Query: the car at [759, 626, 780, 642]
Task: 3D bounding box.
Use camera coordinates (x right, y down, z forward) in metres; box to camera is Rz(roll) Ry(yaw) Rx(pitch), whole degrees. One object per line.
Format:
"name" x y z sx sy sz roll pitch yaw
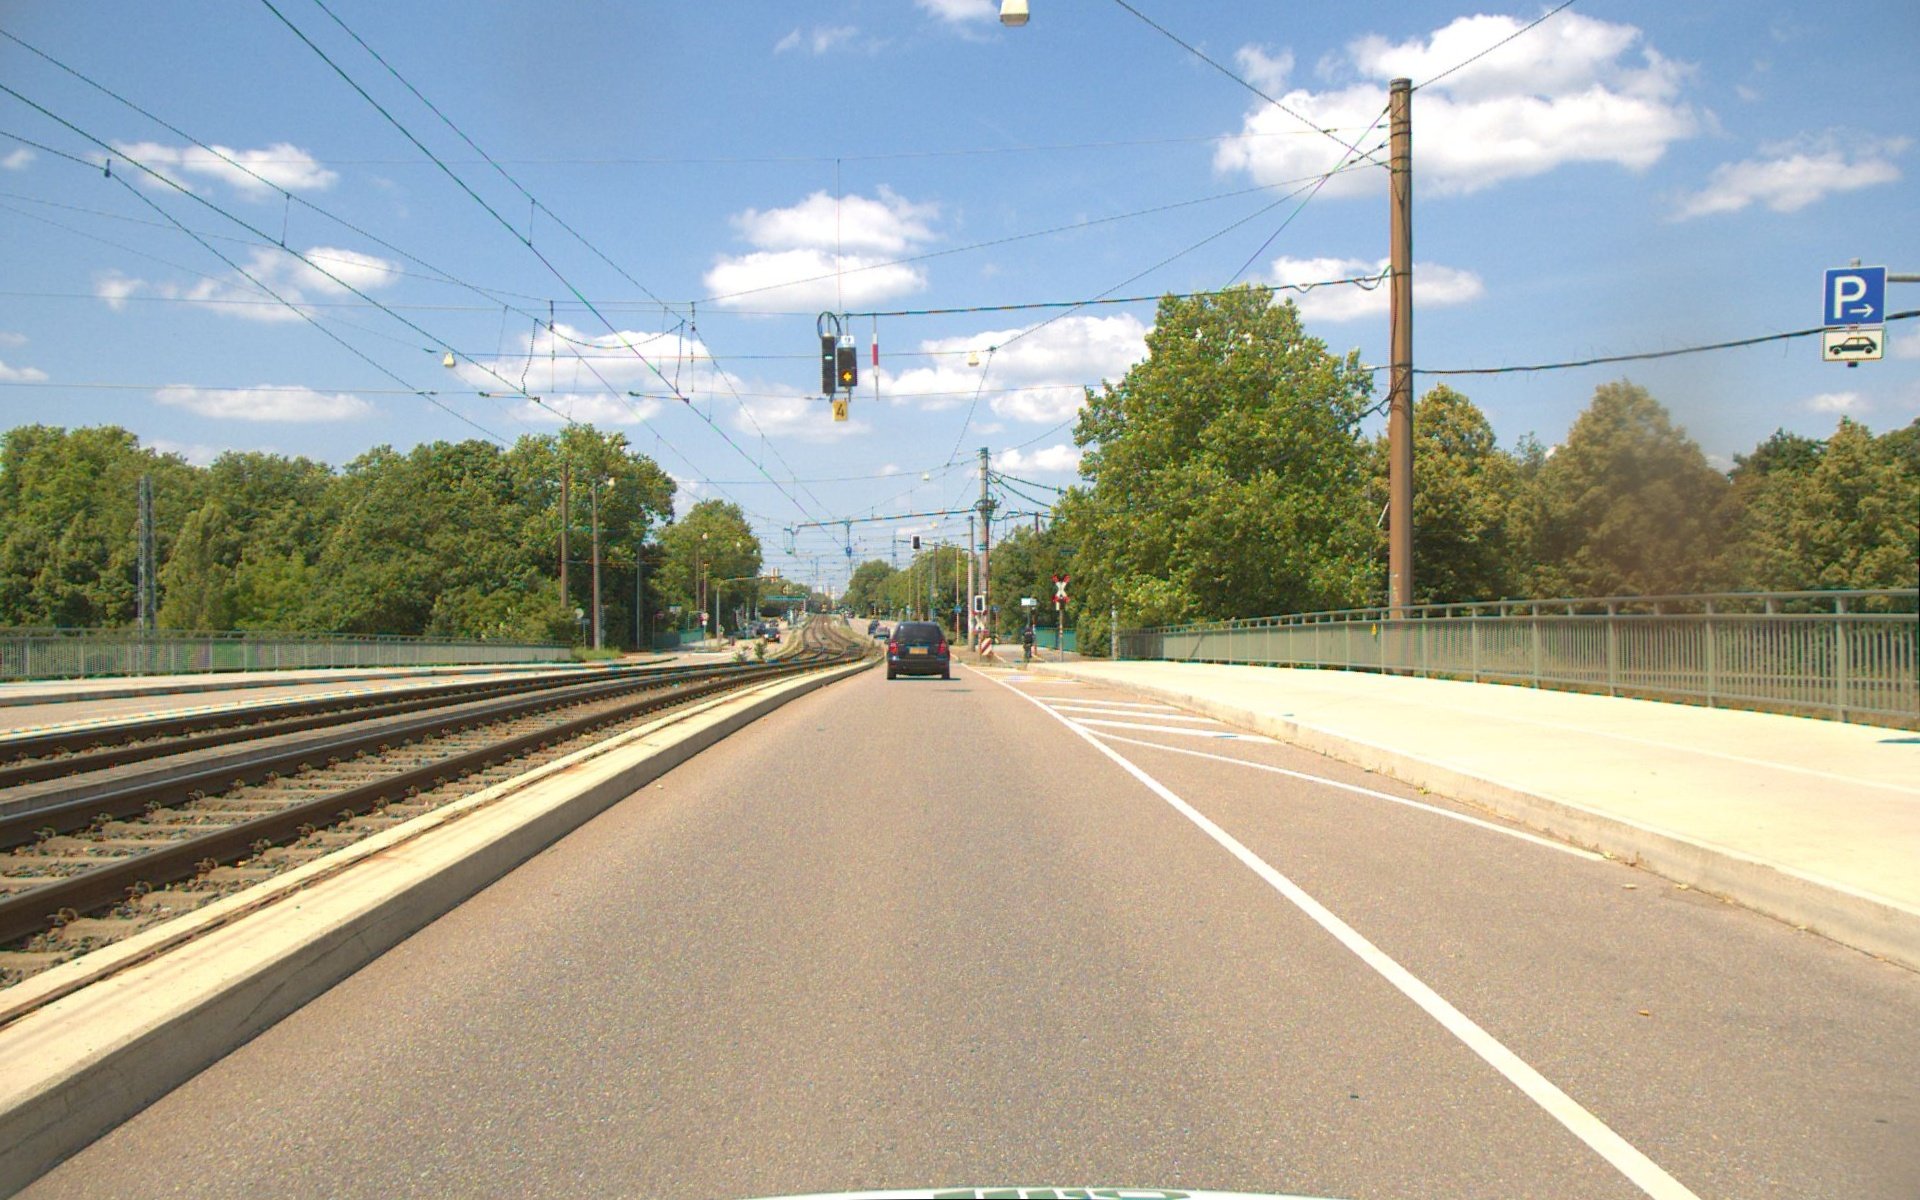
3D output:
"car" -19.319 3.453 167.591 1.670 1.536 3.732 -2 -1 -1

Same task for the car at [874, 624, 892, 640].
"car" -8.996 3.704 193.270 1.846 1.668 3.999 3 0 -1

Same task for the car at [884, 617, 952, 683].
"car" -1.172 1.358 46.515 1.815 1.597 4.387 1 1 -1

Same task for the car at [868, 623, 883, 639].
"car" -11.445 4.200 225.020 1.953 2.049 3.999 1 1 -2

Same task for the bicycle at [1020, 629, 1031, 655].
"bicycle" 3.134 2.001 79.513 0.423 1.172 1.855 1 1 0

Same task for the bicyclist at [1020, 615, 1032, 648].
"bicyclist" 3.167 1.507 79.449 0.573 1.521 0.558 1 0 0
